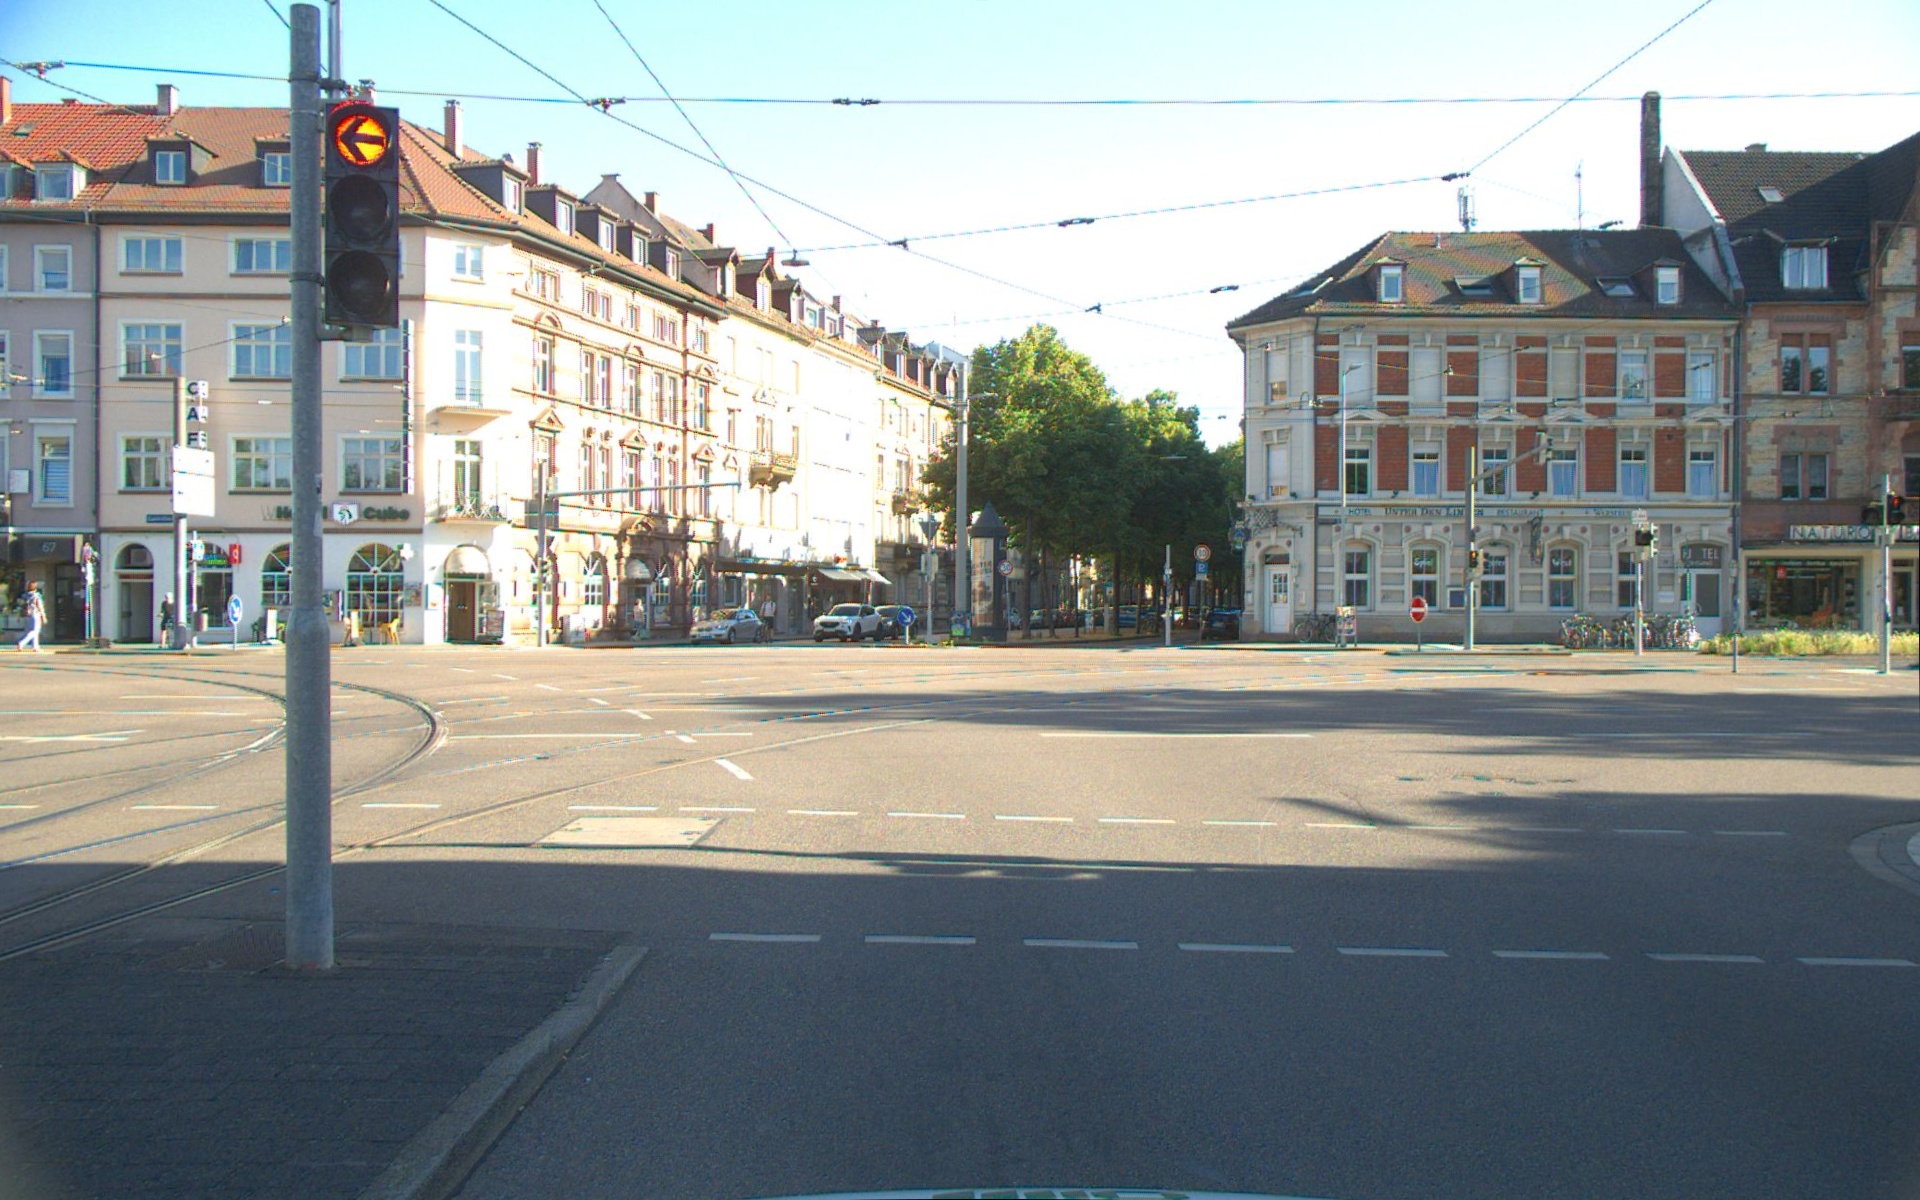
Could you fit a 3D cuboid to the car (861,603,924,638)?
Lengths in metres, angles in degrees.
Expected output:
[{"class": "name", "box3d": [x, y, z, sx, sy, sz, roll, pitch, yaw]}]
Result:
[{"class": "car", "box3d": [-2.952, 0.883, 73.553, 1.642, 1.509, 3.950, 0, 0, 16]}]

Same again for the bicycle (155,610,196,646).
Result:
[{"class": "bicycle", "box3d": [-24.639, 0.877, 51.943, 0.561, 1.096, 1.497, 1, 0, -1]}]

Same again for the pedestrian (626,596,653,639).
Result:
[{"class": "pedestrian", "box3d": [-12.920, 0.707, 66.680, 0.759, 1.699, 0.831, 1, -1, 15]}]

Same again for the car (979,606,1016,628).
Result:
[{"class": "car", "box3d": [2.557, 1.135, 111.342, 1.642, 1.378, 3.593, 0, 0, 16]}]

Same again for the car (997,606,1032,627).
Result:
[{"class": "car", "box3d": [3.814, 1.154, 115.517, 1.642, 1.378, 3.593, 0, 0, 16]}]

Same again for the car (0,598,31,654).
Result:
[{"class": "car", "box3d": [-32.153, 0.786, 52.256, 4.276, 1.741, 2.306, 1, 0, 1]}]

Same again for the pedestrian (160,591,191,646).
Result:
[{"class": "pedestrian", "box3d": [-24.636, 0.579, 51.947, 0.570, 1.699, 0.752, 1, -1, -1]}]

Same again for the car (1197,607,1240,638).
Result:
[{"class": "car", "box3d": [12.954, 1.102, 82.752, 1.642, 1.509, 3.950, 0, 0, 16]}]

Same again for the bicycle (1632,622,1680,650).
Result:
[{"class": "bicycle", "box3d": [22.489, 1.151, 53.486, 0.645, 0.855, 2.160, 1, 0, 0]}]

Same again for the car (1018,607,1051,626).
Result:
[{"class": "car", "box3d": [5.525, 1.202, 122.504, 1.642, 1.378, 3.593, 0, 0, 16]}]

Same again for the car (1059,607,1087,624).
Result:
[{"class": "car", "box3d": [9.308, 1.246, 135.899, 1.642, 1.378, 3.593, 0, 0, 16]}]

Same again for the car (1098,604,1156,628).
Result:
[{"class": "car", "box3d": [11.707, 1.111, 115.837, 3.819, 1.677, 1.684, 0, 0, 16]}]

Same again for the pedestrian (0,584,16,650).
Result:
[{"class": "pedestrian", "box3d": [-23.961, 0.415, 40.879, 0.710, 1.605, 0.834, 1, -1, 9]}]

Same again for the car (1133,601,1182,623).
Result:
[{"class": "car", "box3d": [15.311, 0.955, 128.250, 3.503, 1.677, 1.684, 0, 0, 16]}]

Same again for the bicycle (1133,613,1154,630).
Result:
[{"class": "bicycle", "box3d": [11.046, 1.291, 99.630, 0.625, 1.039, 1.840, 1, 0, -14]}]

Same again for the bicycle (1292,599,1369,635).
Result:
[{"class": "bicycle", "box3d": [12.864, 0.585, 57.461, 2.504, 1.194, 0.818, 1, -1, -4]}]

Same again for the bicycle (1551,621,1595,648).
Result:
[{"class": "bicycle", "box3d": [19.760, 1.104, 53.372, 0.645, 0.855, 2.160, 1, 0, 0]}]

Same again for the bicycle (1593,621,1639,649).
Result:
[{"class": "bicycle", "box3d": [21.191, 1.129, 53.473, 0.645, 0.855, 2.160, 1, 0, 0]}]

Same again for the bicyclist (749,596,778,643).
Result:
[{"class": "bicyclist", "box3d": [-7.717, 0.762, 65.006, 0.761, 1.834, 1.056, 1, -1, 13]}]

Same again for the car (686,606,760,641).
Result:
[{"class": "car", "box3d": [-9.543, 0.929, 66.746, 1.642, 1.378, 3.593, 0, 0, 16]}]

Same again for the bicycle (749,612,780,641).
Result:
[{"class": "bicycle", "box3d": [-7.683, 1.043, 65.128, 0.687, 1.137, 1.636, 1, 0, 13]}]

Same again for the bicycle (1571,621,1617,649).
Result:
[{"class": "bicycle", "box3d": [20.479, 1.117, 53.459, 0.645, 0.855, 2.160, 1, 0, 0]}]

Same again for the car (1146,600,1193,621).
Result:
[{"class": "car", "box3d": [16.932, 0.880, 133.750, 3.503, 1.677, 1.684, 0, 0, 16]}]

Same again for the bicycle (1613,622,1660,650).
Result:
[{"class": "bicycle", "box3d": [21.862, 1.141, 53.506, 0.645, 0.855, 2.160, 1, 0, 0]}]

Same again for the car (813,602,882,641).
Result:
[{"class": "car", "box3d": [-4.538, 0.839, 67.228, 1.642, 1.509, 3.774, 0, 0, 16]}]

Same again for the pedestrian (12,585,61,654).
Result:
[{"class": "pedestrian", "box3d": [-21.709, 0.460, 38.885, 0.539, 1.605, 0.832, 1, -1, 27]}]

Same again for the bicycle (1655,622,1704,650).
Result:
[{"class": "bicycle", "box3d": [23.278, 1.165, 53.532, 0.645, 0.855, 2.160, 1, 0, 0]}]

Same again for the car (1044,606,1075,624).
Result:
[{"class": "car", "box3d": [7.883, 1.210, 130.847, 1.642, 1.378, 3.593, 0, 0, 16]}]
